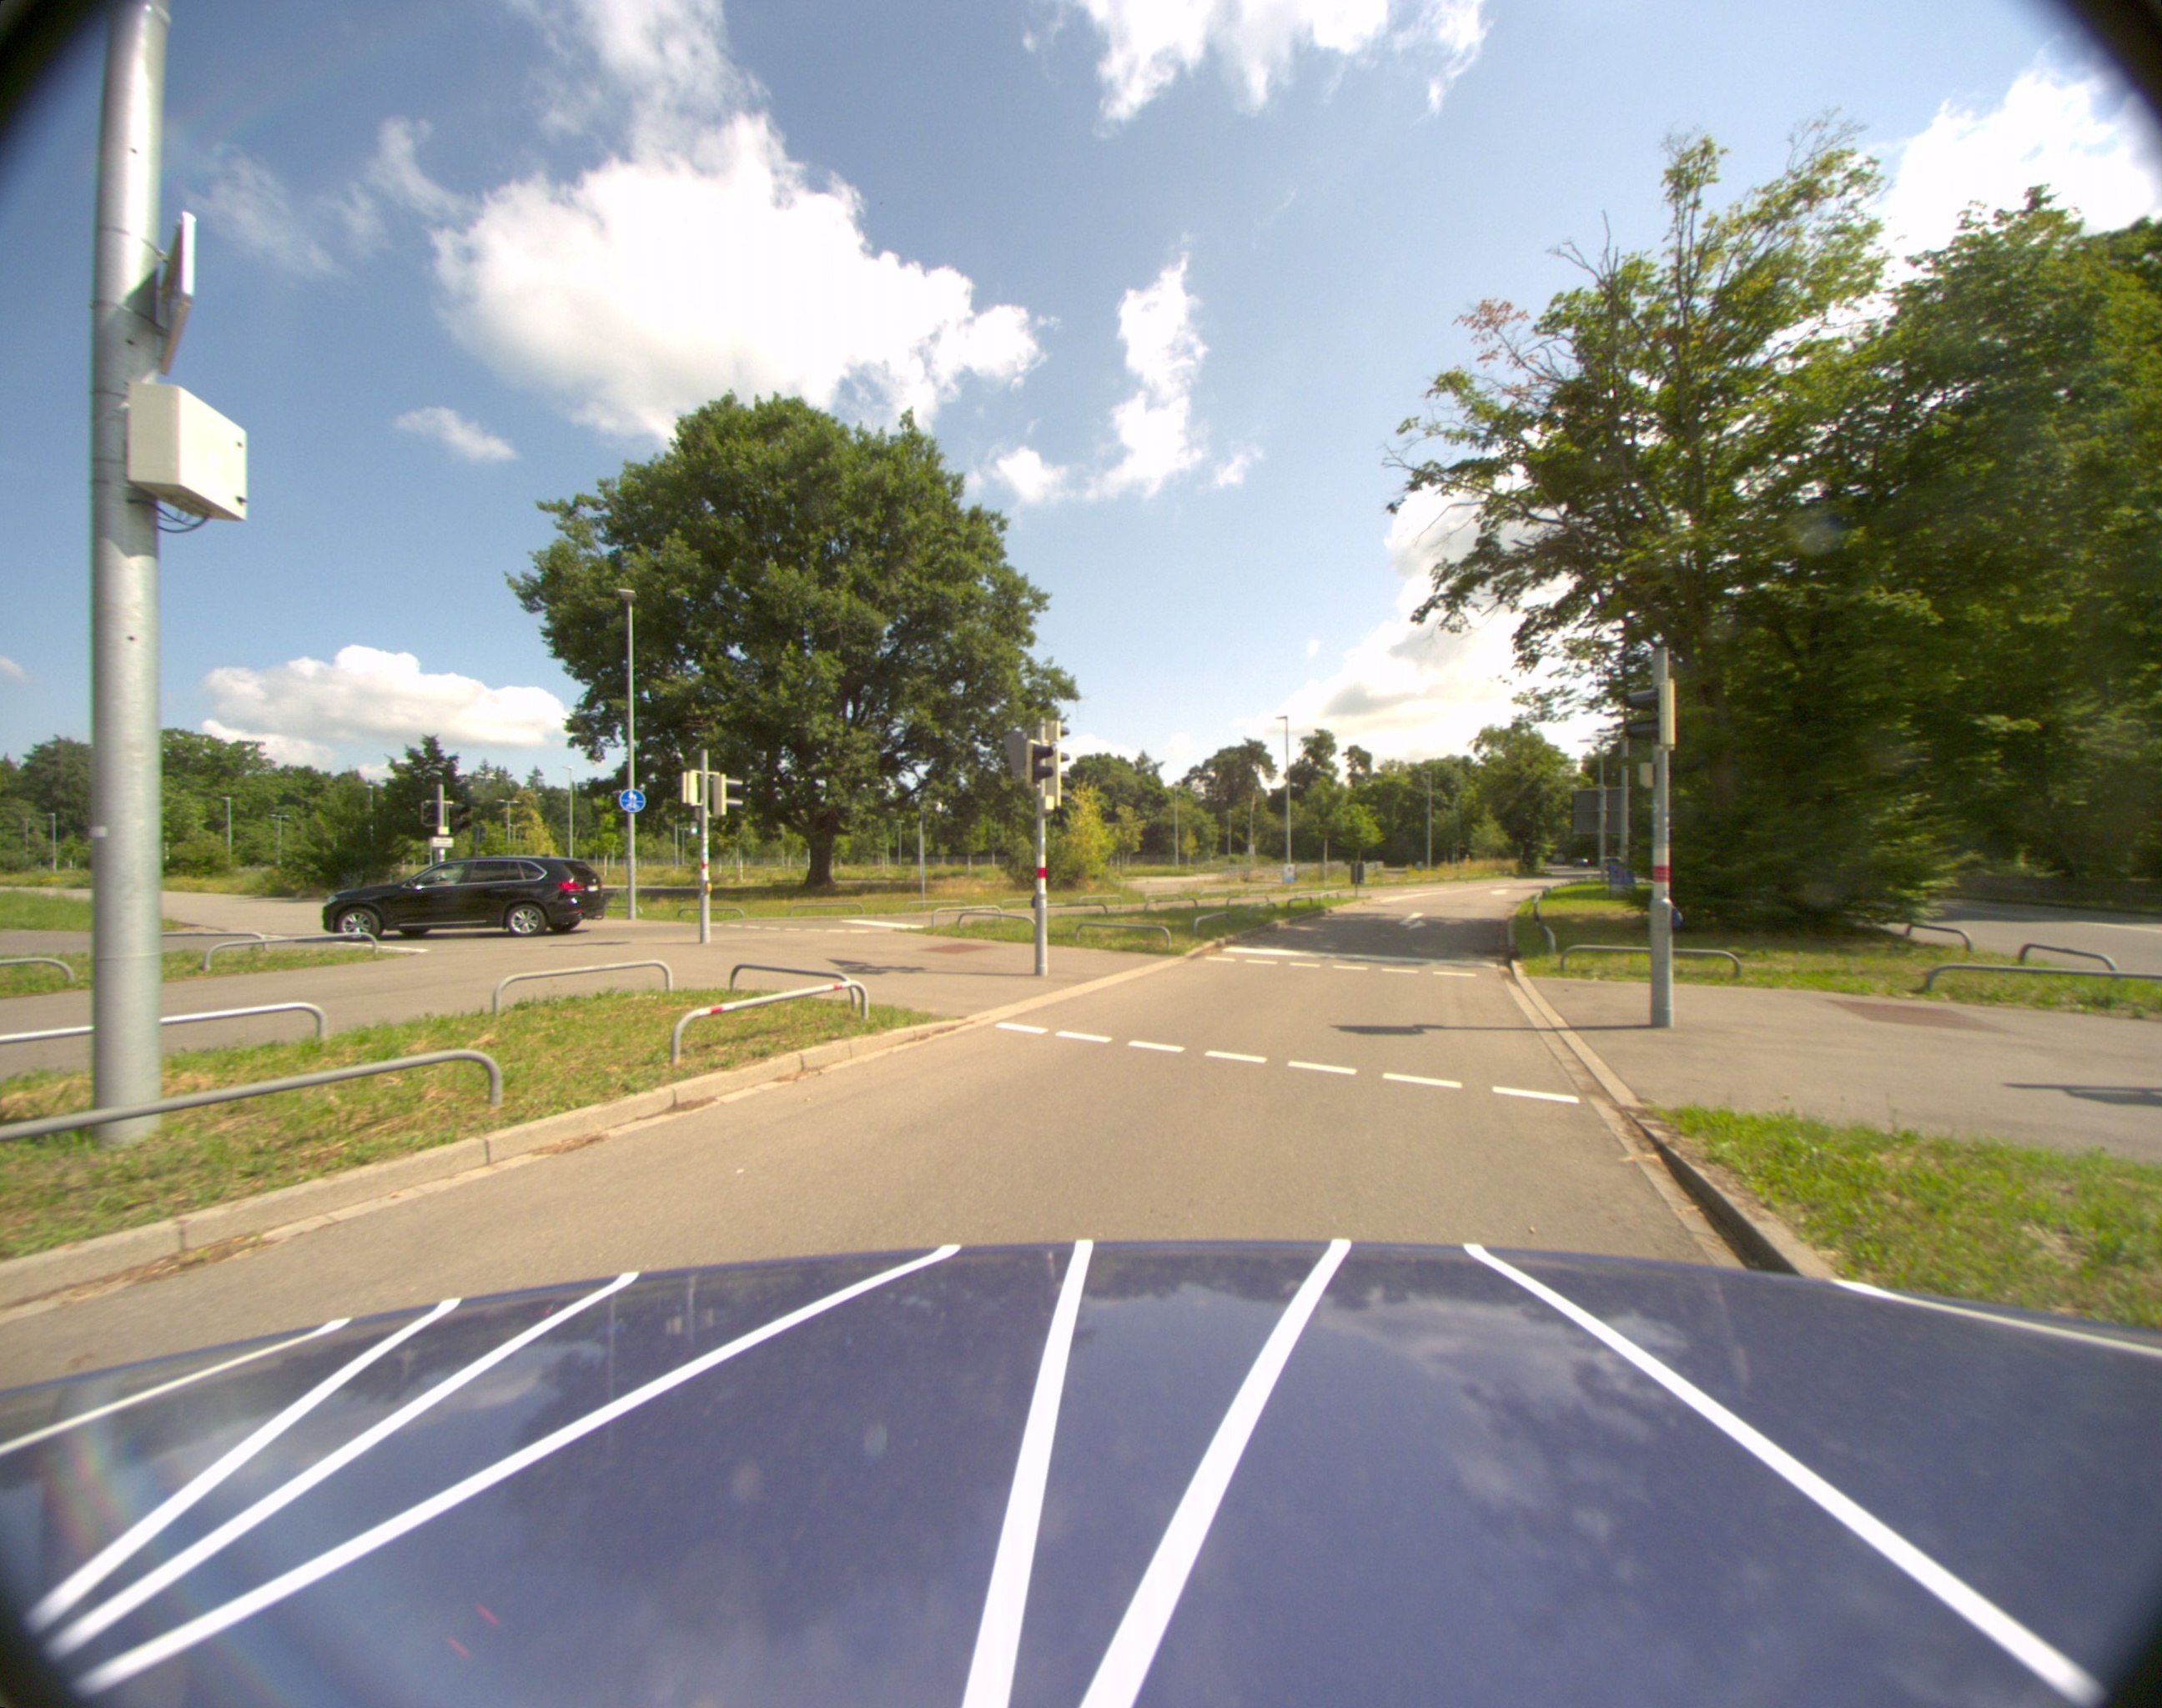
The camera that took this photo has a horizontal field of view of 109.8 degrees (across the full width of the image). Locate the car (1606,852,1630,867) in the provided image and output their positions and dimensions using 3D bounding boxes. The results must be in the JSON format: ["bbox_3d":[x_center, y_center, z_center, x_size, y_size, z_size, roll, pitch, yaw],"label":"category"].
[{"bbox_3d":[62.338,0.613,88.267,1.762,1.620,4.307,-2,-1,29],"label":"car"}]

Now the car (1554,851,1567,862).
[{"bbox_3d":[105.148,0.519,166.666,1.976,2.416,5.372,-1,0,28],"label":"car"}]

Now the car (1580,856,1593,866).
[{"bbox_3d":[80.136,1.093,120.545,1.695,1.438,4.074,-1,0,33],"label":"car"}]

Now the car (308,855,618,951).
[{"bbox_3d":[-12.953,0.959,16.319,4.710,1.755,1.979,-1,1,-14],"label":"car"}]
